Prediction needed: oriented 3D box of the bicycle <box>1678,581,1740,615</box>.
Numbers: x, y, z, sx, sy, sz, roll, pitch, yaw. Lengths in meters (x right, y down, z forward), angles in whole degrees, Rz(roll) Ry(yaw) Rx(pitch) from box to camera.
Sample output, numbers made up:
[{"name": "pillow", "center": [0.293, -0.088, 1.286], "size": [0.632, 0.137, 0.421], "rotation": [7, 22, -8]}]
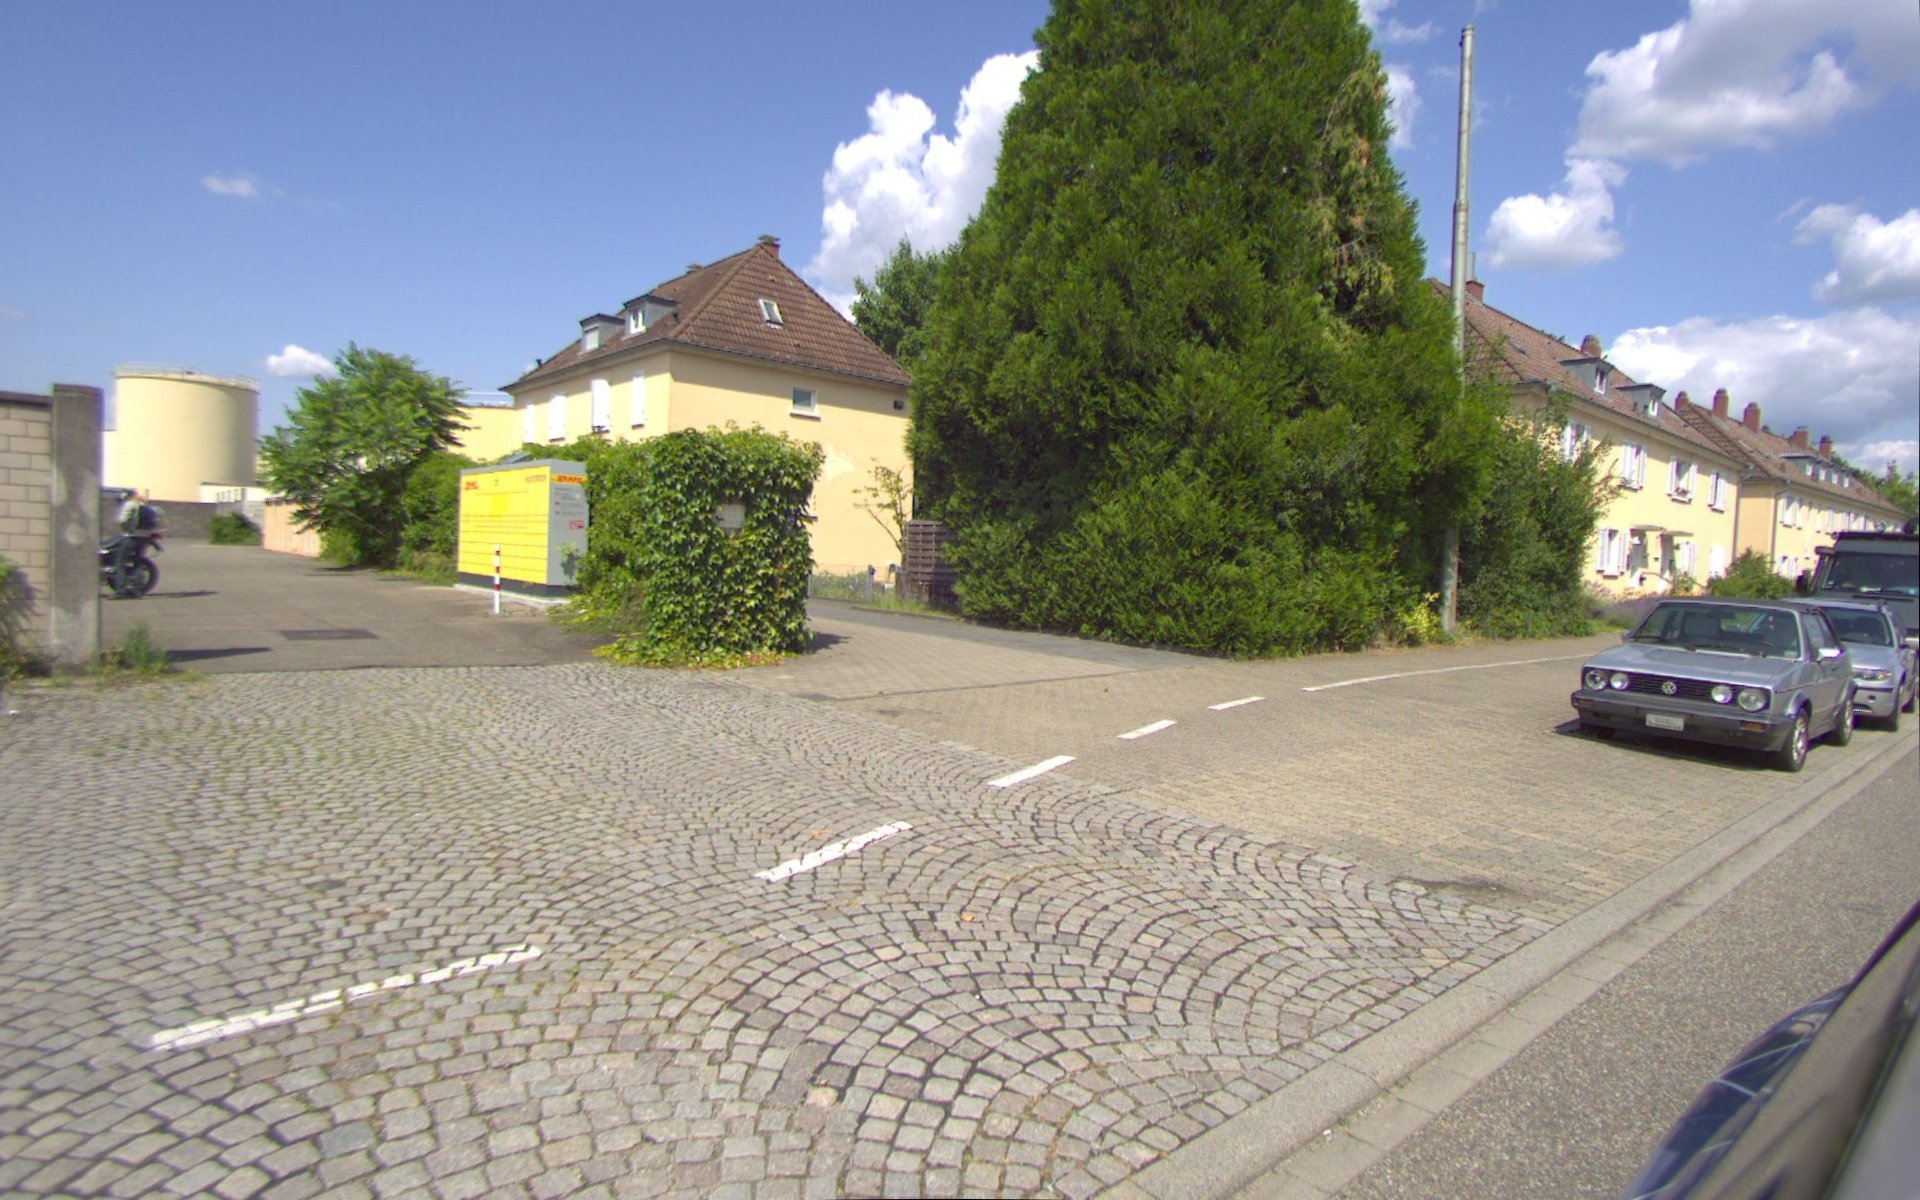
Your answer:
[{"name": "bicycle", "center": [26.349, -0.079, 35.623], "size": [0.285, 1.116, 1.693], "rotation": [1, 3, -40]}]

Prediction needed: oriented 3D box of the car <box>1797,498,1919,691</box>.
[{"name": "car", "center": [15.587, -0.108, 16.528], "size": [4.793, 2.793, 2.001], "rotation": [0, 4, -41]}]

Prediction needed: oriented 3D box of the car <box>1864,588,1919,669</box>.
[{"name": "car", "center": [19.499, 0.558, 20.000], "size": [4.752, 1.418, 1.725], "rotation": [0, 4, -41]}]

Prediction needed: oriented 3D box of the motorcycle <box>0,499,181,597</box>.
[{"name": "motorcycle", "center": [-12.911, -0.753, 14.819], "size": [0.625, 1.343, 2.313], "rotation": [4, 4, 41]}]

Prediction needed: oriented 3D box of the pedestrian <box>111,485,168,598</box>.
[{"name": "pedestrian", "center": [-12.088, -0.849, 14.904], "size": [0.487, 1.624, 0.588], "rotation": [2, 2, 43]}]

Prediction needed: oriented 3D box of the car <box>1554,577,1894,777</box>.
[{"name": "car", "center": [7.442, 0.567, 9.726], "size": [4.023, 1.448, 1.656], "rotation": [0, 4, -40]}]

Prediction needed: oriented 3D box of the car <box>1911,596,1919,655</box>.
[{"name": "car", "center": [23.478, 0.622, 23.395], "size": [4.057, 1.310, 1.725], "rotation": [0, 5, -41]}]

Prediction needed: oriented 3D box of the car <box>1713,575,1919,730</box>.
[{"name": "car", "center": [10.994, 0.514, 12.669], "size": [4.283, 1.534, 1.694], "rotation": [-1, 5, -43]}]
